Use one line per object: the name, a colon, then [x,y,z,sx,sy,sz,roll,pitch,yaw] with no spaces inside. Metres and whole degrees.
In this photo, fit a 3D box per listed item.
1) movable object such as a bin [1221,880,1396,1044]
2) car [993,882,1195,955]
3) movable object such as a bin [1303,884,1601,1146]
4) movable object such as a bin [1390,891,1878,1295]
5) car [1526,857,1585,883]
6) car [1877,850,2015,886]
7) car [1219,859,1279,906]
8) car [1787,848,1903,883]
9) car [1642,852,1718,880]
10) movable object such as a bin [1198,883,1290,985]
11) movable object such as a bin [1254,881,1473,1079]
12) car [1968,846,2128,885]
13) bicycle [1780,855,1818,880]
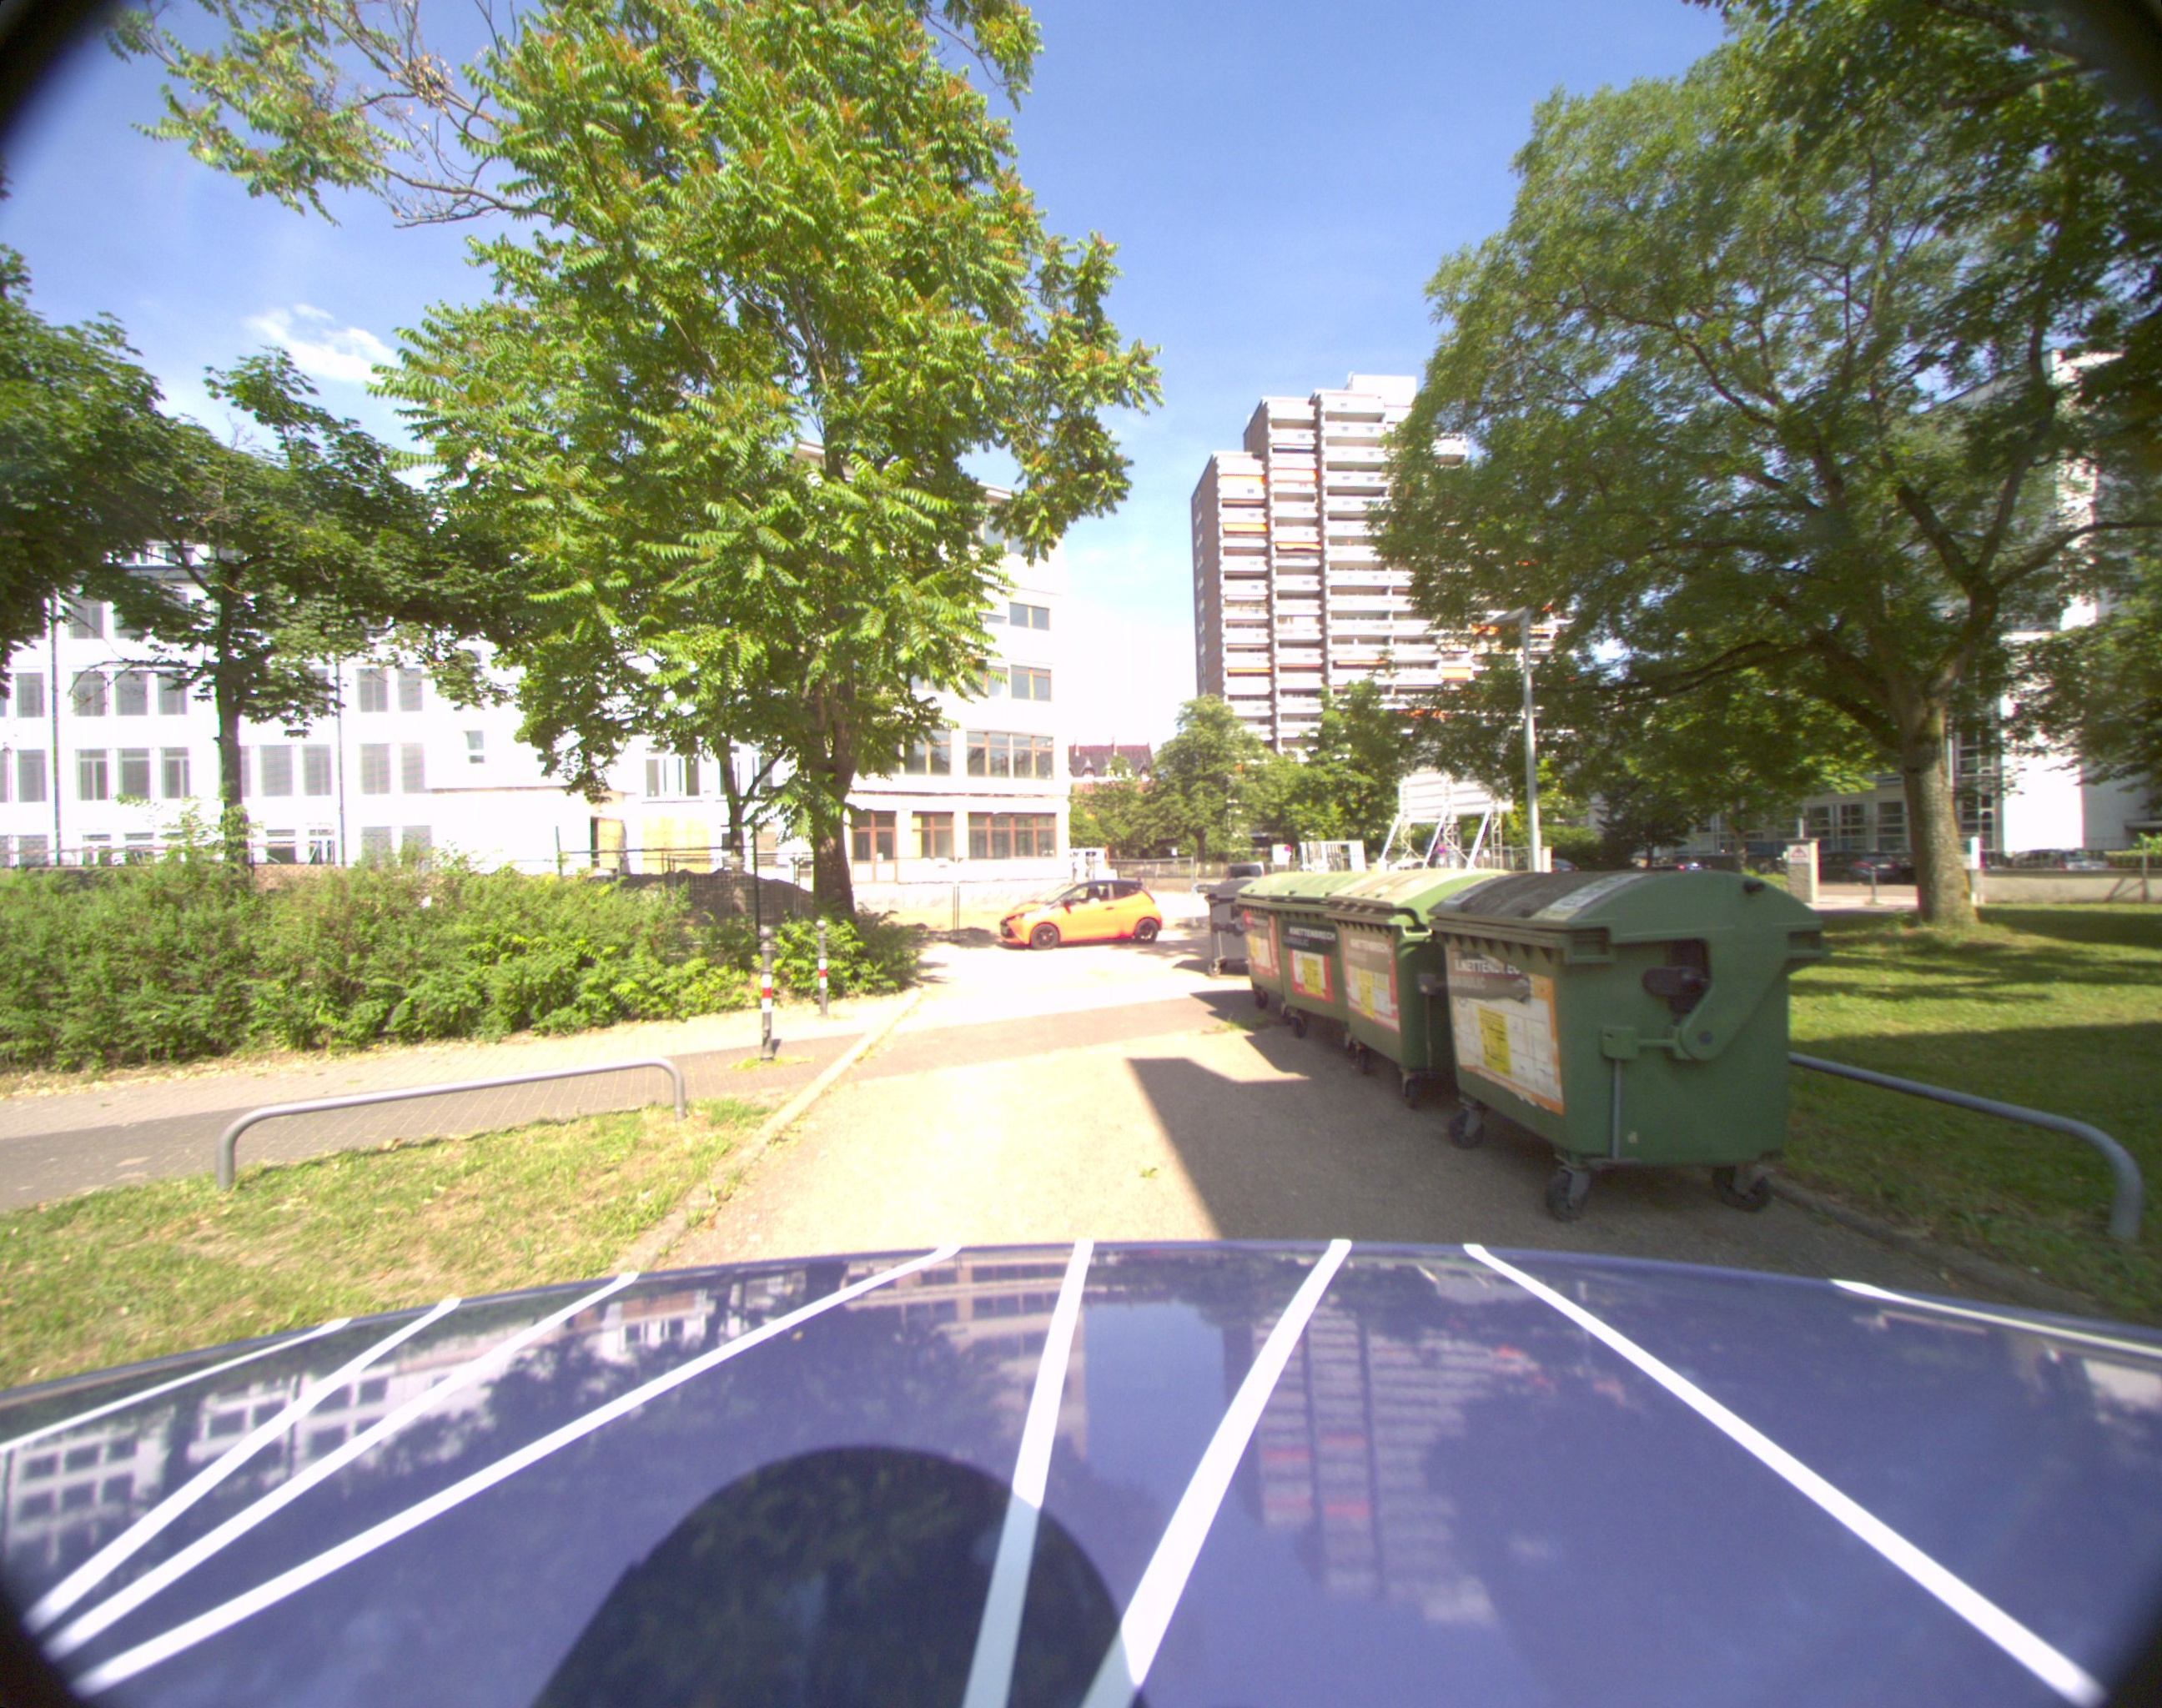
movable object such as a bin: [2.285,1.035,7.853,1.248,1.472,1.338,-1,0,-9]
car: [0.292,1.363,16.960,4.179,1.404,1.660,0,-1,-21]
movable object such as a bin: [2.342,0.946,5.057,1.248,1.422,1.365,-1,0,-4]
movable object such as a bin: [2.380,0.925,3.546,1.248,1.422,1.349,-1,0,-4]
car: [29.569,0.947,47.482,1.840,1.402,4.151,-3,0,13]
car: [38.111,0.585,33.653,1.798,1.467,4.189,-1,-1,11]
car: [7.224,1.145,32.375,1.918,1.770,4.319,-3,-1,19]
car: [36.531,0.553,36.503,1.805,1.556,4.395,-2,-1,12]
car: [32.974,0.654,41.979,1.651,1.443,4.004,-2,-1,11]
movable object such as a bin: [2.484,1.161,11.472,1.246,1.388,1.406,-1,0,15]
movable object such as a bin: [2.334,0.973,6.446,1.249,1.422,1.222,-1,0,-14]
car: [40.080,0.465,31.680,1.799,1.477,4.345,-1,-1,14]
bicycle: [40.993,0.762,43.402,2.017,1.370,0.489,-1,0,-12]
